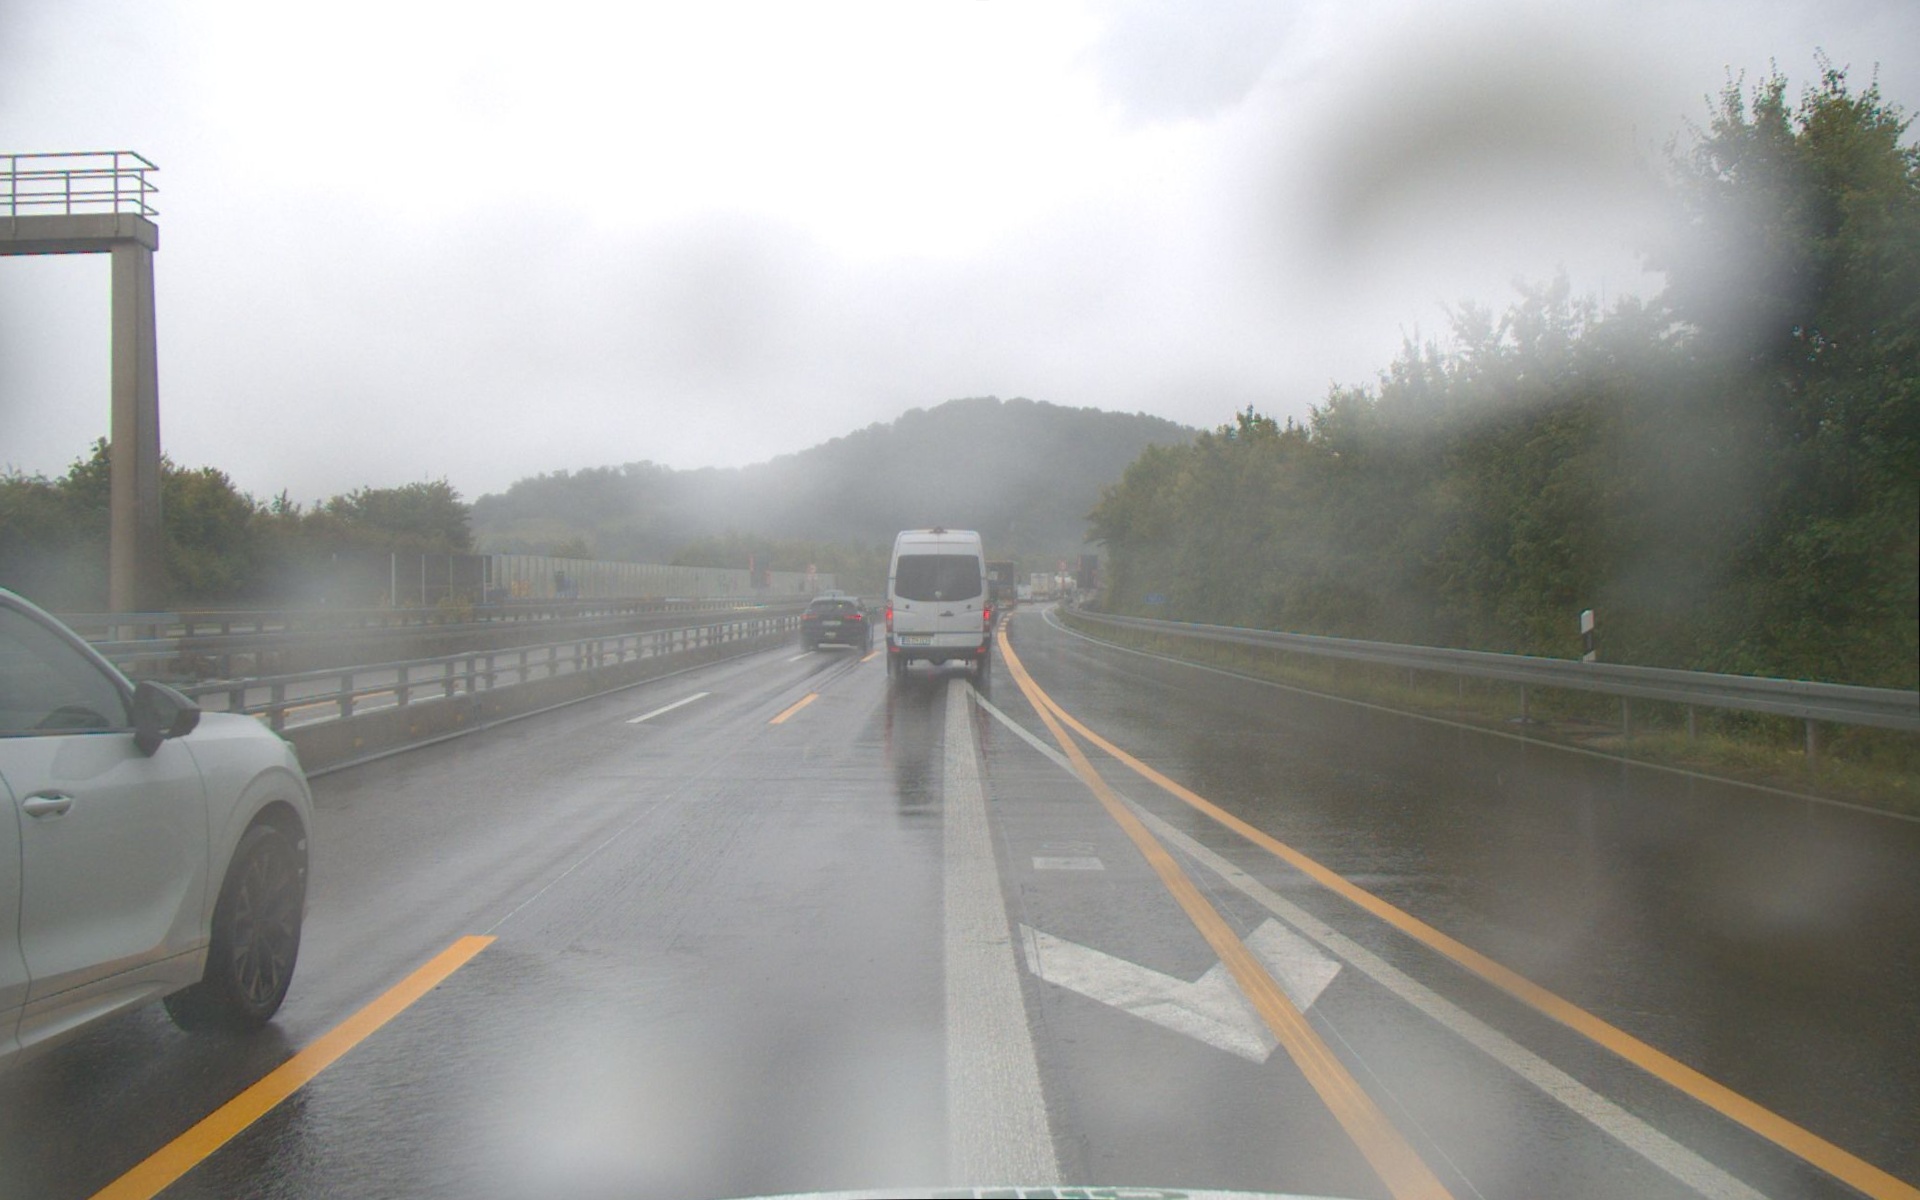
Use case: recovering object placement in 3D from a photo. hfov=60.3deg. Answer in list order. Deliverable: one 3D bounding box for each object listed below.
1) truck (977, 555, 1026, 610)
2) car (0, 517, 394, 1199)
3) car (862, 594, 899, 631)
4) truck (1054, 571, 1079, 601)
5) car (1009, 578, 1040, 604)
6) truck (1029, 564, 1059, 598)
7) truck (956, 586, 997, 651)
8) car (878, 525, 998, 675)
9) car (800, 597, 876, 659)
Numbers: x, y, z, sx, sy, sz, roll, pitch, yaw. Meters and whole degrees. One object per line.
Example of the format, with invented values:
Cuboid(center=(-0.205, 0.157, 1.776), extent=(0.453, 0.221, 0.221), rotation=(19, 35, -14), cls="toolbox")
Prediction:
Cuboid(center=(3.593, -1.459, 140.977), extent=(3.505, 4.483, 9.630), rotation=(1, 0, 5), cls="truck")
Cuboid(center=(-3.188, 0.619, 4.092), extent=(1.953, 1.646, 4.795), rotation=(1, 0, -1), cls="car")
Cuboid(center=(-3.752, 0.579, 78.263), extent=(1.672, 1.656, 3.998), rotation=(1, 0, -2), cls="car")
Cuboid(center=(16.717, -2.147, 259.847), extent=(2.836, 4.483, 9.632), rotation=(1, 0, 10), cls="truck")
Cuboid(center=(7.427, -0.990, 188.776), extent=(2.836, 2.938, 6.416), rotation=(1, 0, 8), cls="car")
Cuboid(center=(11.554, -2.544, 226.150), extent=(2.971, 4.483, 9.632), rotation=(1, 0, 9), cls="truck")
Cuboid(center=(0.834, 0.924, 86.039), extent=(1.952, 3.163, 8.498), rotation=(1, 0, 0), cls="truck")
Cuboid(center=(-0.392, 0.004, 31.993), extent=(2.101, 2.616, 5.389), rotation=(1, 0, 0), cls="car")
Cuboid(center=(-3.268, 0.720, 44.441), extent=(1.908, 1.588, 3.997), rotation=(1, 0, -4), cls="car")
